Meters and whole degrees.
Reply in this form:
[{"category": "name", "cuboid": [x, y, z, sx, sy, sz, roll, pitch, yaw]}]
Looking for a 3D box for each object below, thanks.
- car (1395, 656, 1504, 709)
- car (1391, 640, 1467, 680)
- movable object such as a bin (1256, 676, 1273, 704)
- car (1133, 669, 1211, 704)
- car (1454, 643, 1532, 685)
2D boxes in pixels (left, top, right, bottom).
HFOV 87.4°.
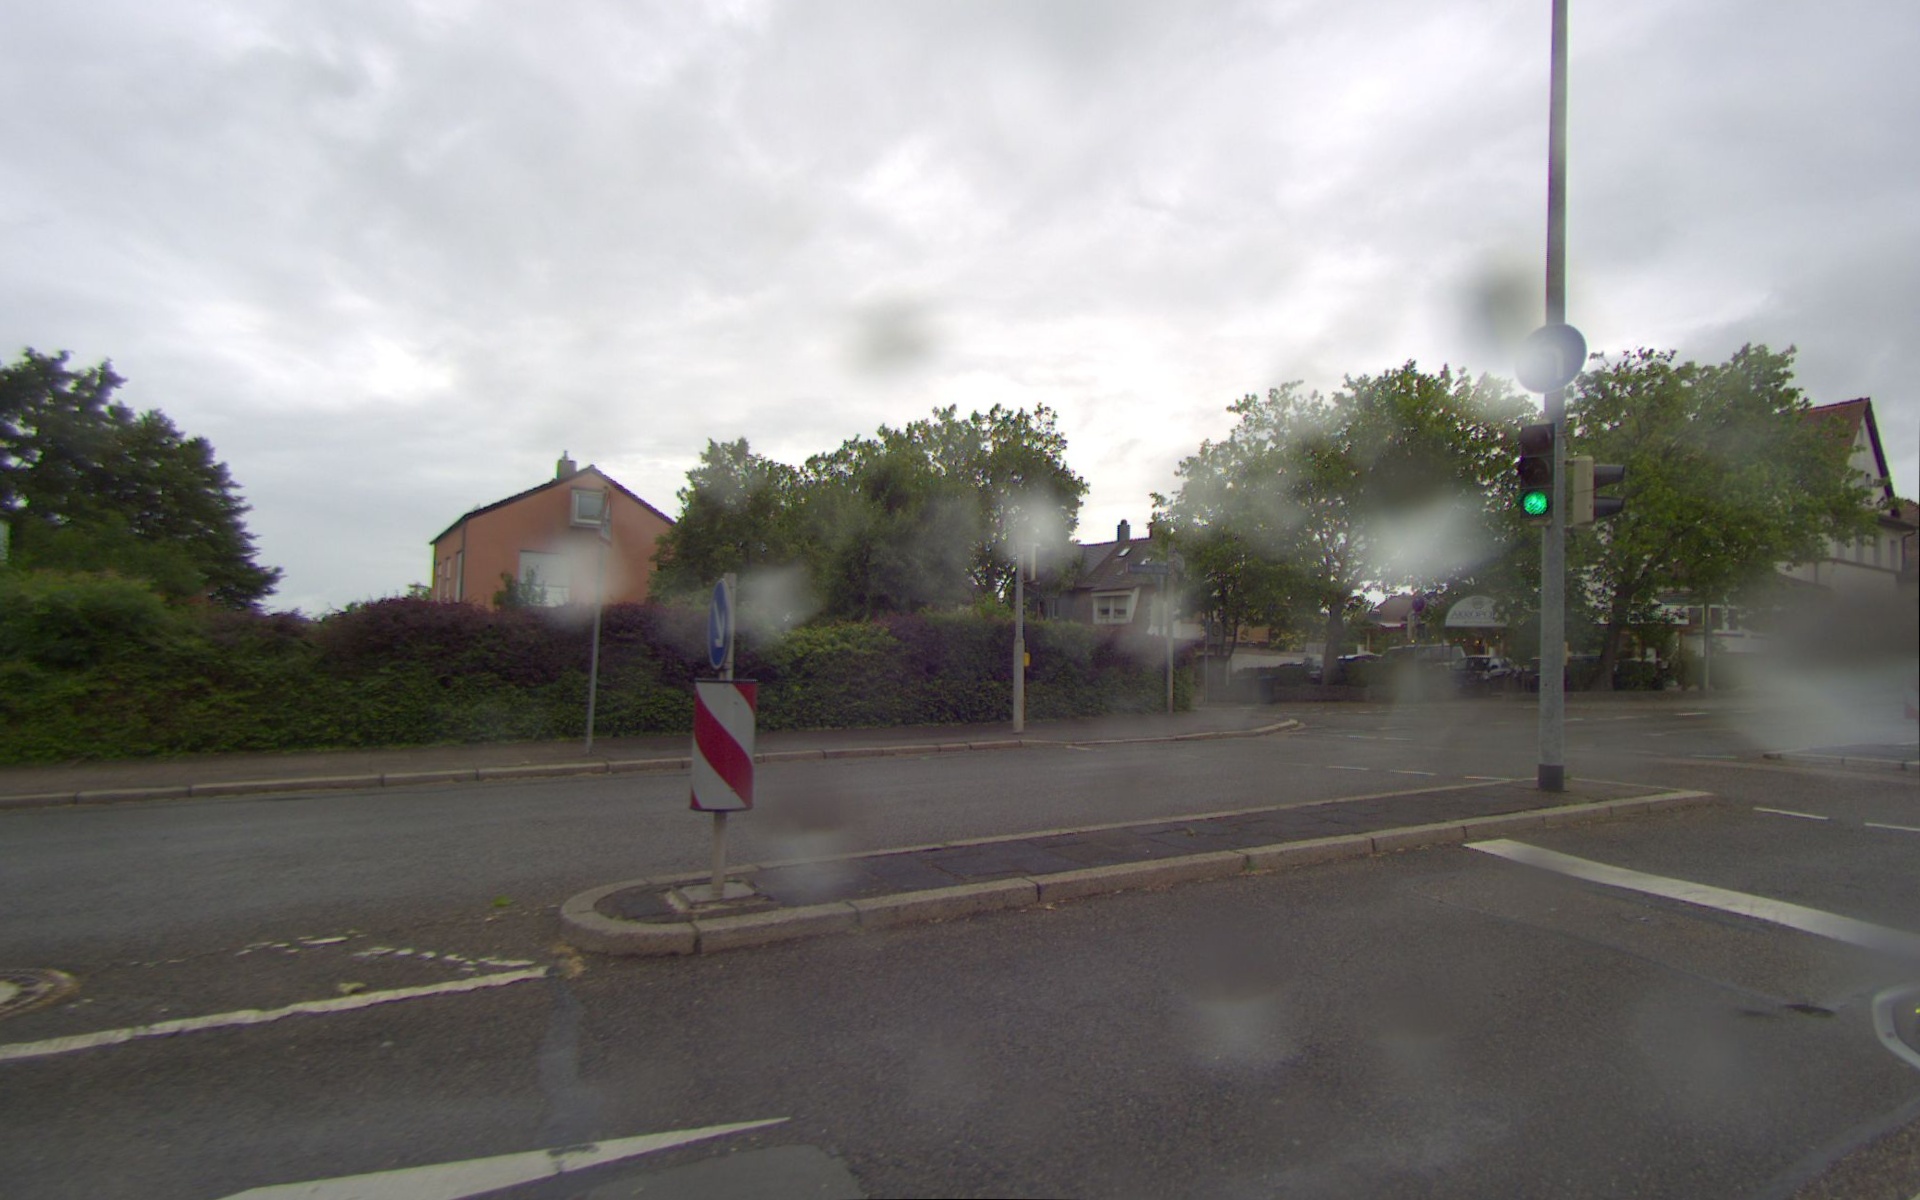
[{"category": "car", "cuboid": [17.902, 2.973, 36.706, 3.956, 1.573, 1.798, -1, 1, -33]}, {"category": "car", "cuboid": [25.626, 3.294, 54.846, 3.960, 2.040, 1.981, 3, -2, -35]}, {"category": "movable object such as a bin", "cuboid": [11.935, 3.539, 39.373, 0.404, 1.057, 0.450, 2, -1, -15]}, {"category": "car", "cuboid": [10.528, 4.302, 49.899, 3.459, 1.574, 1.798, 3, -2, -31]}, {"category": "car", "cuboid": [27.710, 3.318, 52.173, 3.960, 2.040, 1.981, 3, -2, -35]}]
